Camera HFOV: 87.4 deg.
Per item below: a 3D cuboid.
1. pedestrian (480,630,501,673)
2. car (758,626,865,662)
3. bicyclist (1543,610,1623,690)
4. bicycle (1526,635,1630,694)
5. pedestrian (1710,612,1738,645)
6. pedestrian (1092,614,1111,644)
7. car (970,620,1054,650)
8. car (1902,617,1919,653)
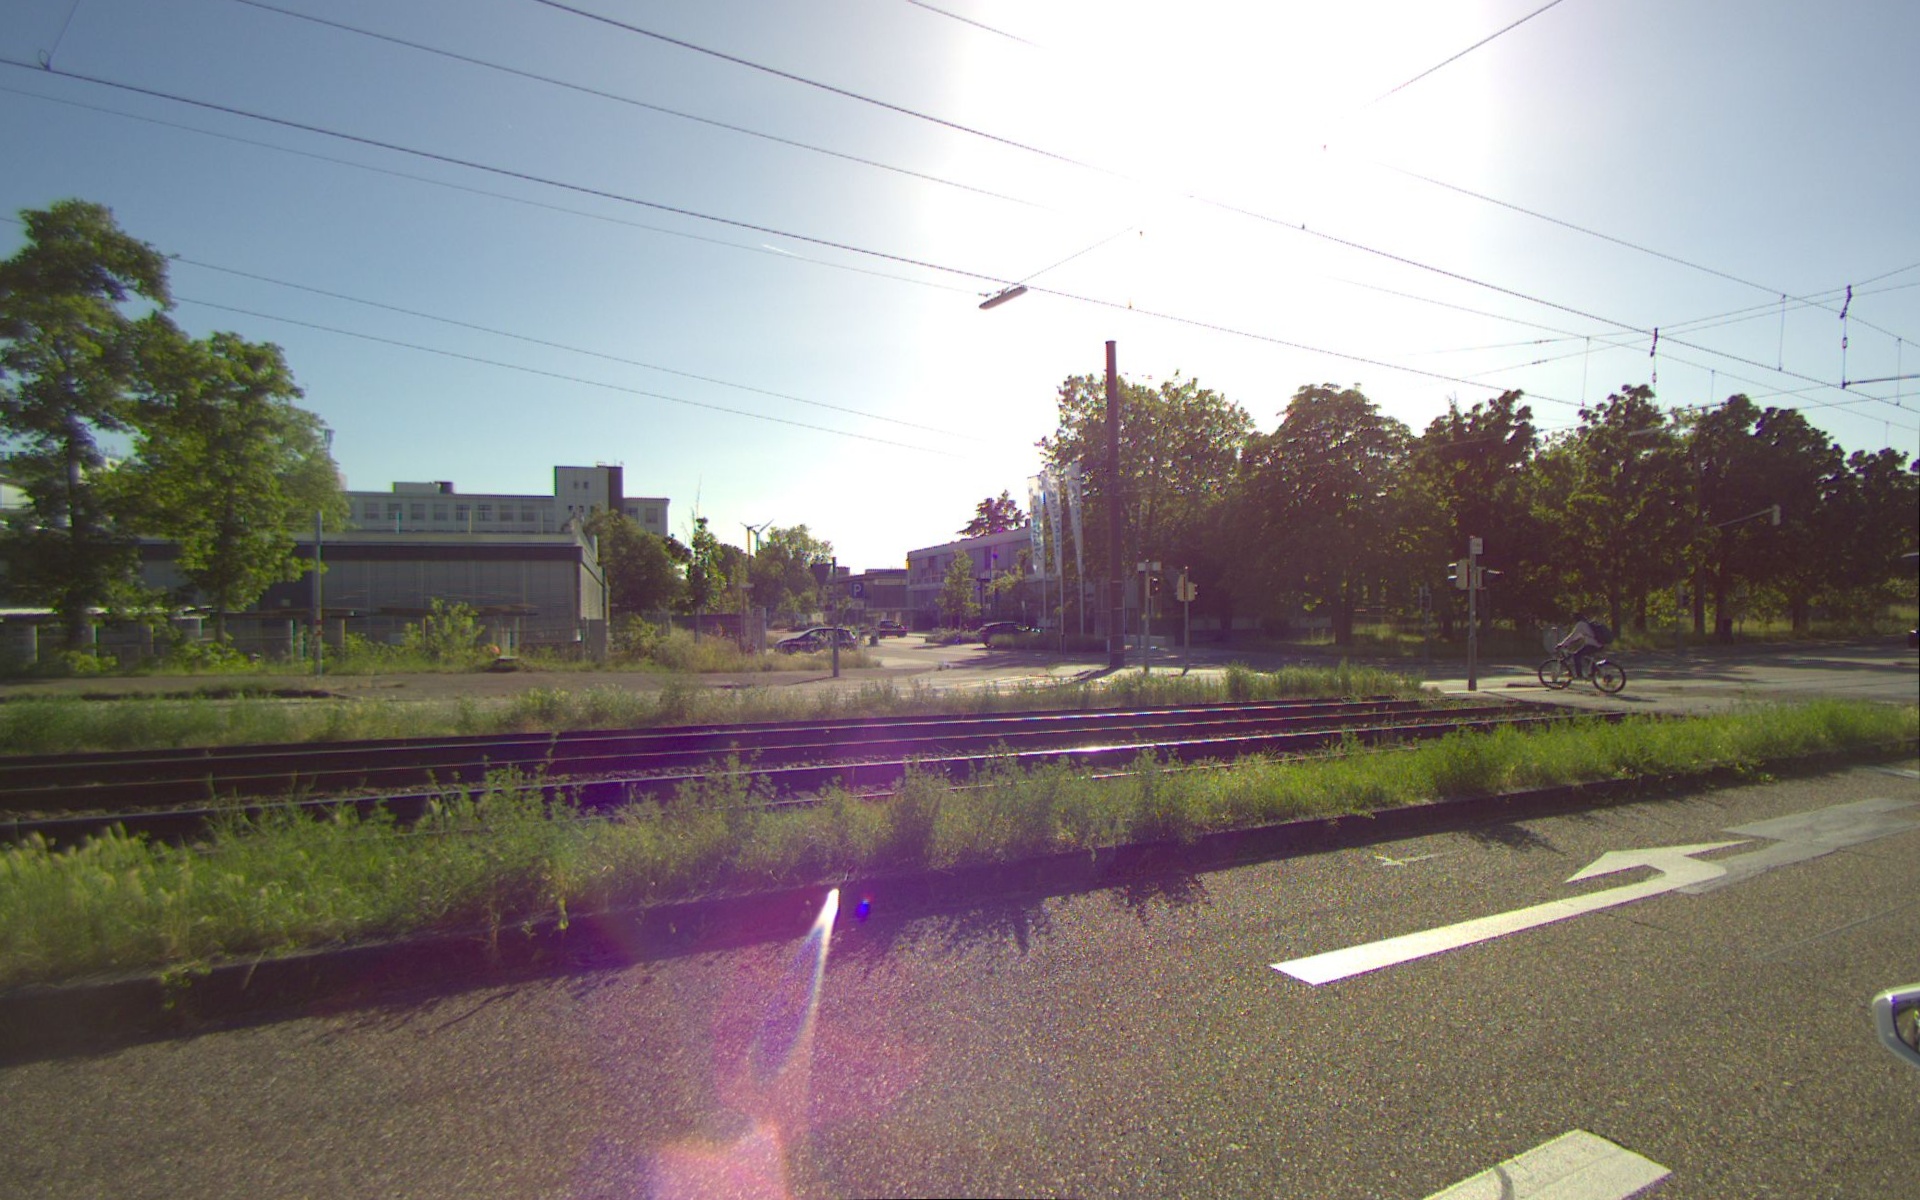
[{"bbox_3d":[-14.703,1.611,31.460,0.432,1.318,0.441,0,0,18],"label":"pedestrian"},{"bbox_3d":[-7.682,2.261,51.912,5.210,1.772,2.164,1,0,-19],"label":"car"},{"bbox_3d":[13.120,1.022,21.164,0.798,1.614,1.222,1,0,-39],"label":"bicyclist"},{"bbox_3d":[13.058,1.340,21.262,0.693,1.117,1.761,1,0,-39],"label":"bicycle"},{"bbox_3d":[41.126,1.528,54.107,0.919,1.757,0.761,0,0,-2],"label":"pedestrian"},{"bbox_3d":[8.482,1.731,60.099,0.807,1.811,0.950,0,0,-16],"label":"pedestrian"},{"bbox_3d":[3.196,2.142,61.708,4.768,1.751,2.041,1,0,-21],"label":"car"},{"bbox_3d":[51.957,1.781,53.029,4.739,1.834,2.082,0,-2,-32],"label":"car"}]
